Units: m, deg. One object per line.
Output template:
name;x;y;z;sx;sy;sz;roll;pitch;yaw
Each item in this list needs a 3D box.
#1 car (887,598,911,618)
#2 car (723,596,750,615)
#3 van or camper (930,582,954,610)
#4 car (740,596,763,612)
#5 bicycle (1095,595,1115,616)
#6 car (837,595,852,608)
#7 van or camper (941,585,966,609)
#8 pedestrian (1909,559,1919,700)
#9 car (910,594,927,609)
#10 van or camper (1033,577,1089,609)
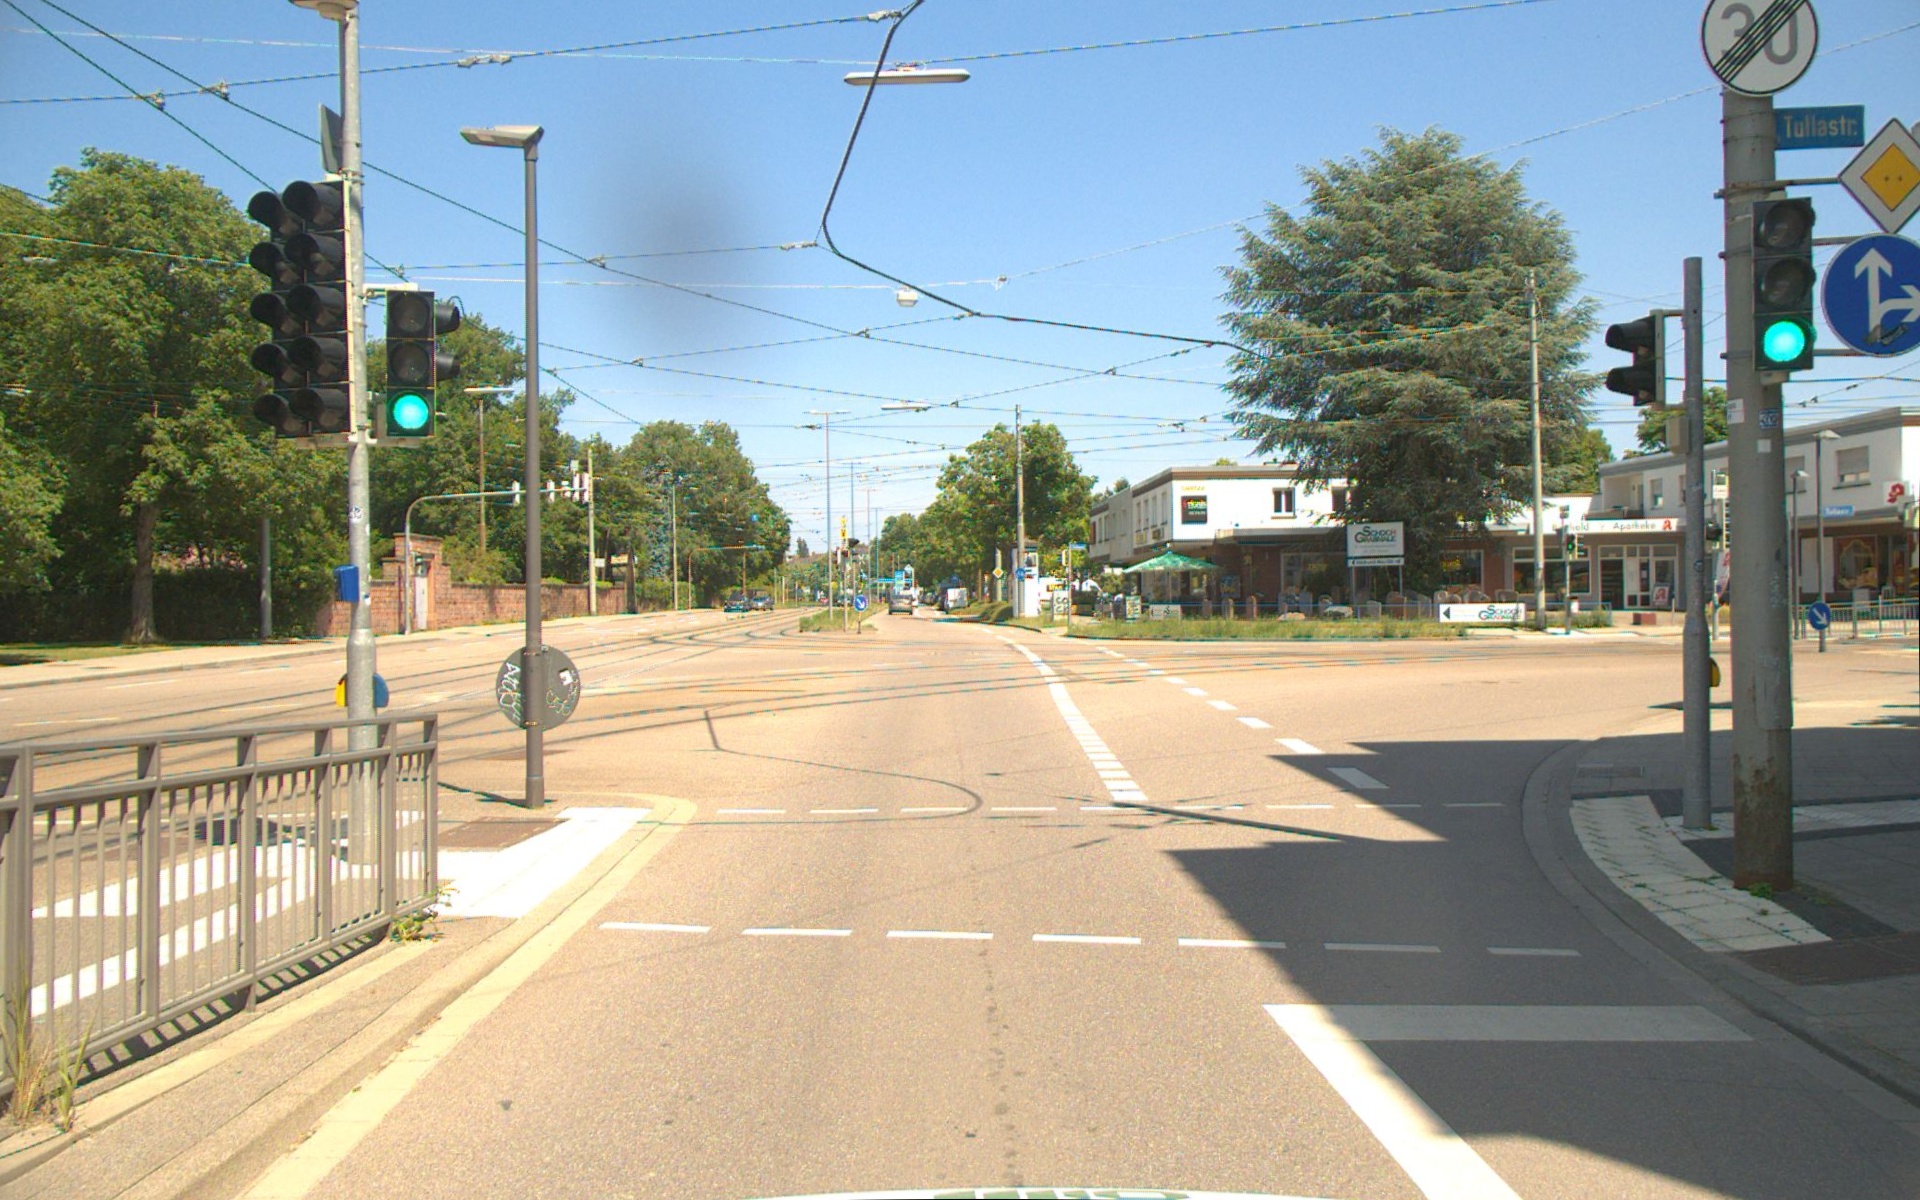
car;-4.445;0.579;119.885;1.604;1.375;3.838;-1;0;-4
car;-19.816;0.523;146.935;1.783;1.631;4.519;-1;0;0
van or camper;-1.660;-0.374;152.702;1.954;2.507;3.997;-1;0;-4
car;-19.825;0.358;157.620;1.607;1.446;4.168;-1;0;1
bicycle;7.407;0.254;84.507;1.012;1.032;2.639;-1;0;5
car;-13.565;0.169;194.477;1.608;1.424;4.114;-1;0;-2
van or camper;-0.541;-0.236;130.127;1.883;1.803;3.999;-1;0;-1
pedestrian;11.274;0.313;18.474;0.809;1.611;0.827;-4;0;5
car;-4.135;0.144;164.887;1.636;1.460;3.474;-1;0;0
van or camper;8.764;-0.579;143.495;4.662;2.717;2.134;-1;0;-3
